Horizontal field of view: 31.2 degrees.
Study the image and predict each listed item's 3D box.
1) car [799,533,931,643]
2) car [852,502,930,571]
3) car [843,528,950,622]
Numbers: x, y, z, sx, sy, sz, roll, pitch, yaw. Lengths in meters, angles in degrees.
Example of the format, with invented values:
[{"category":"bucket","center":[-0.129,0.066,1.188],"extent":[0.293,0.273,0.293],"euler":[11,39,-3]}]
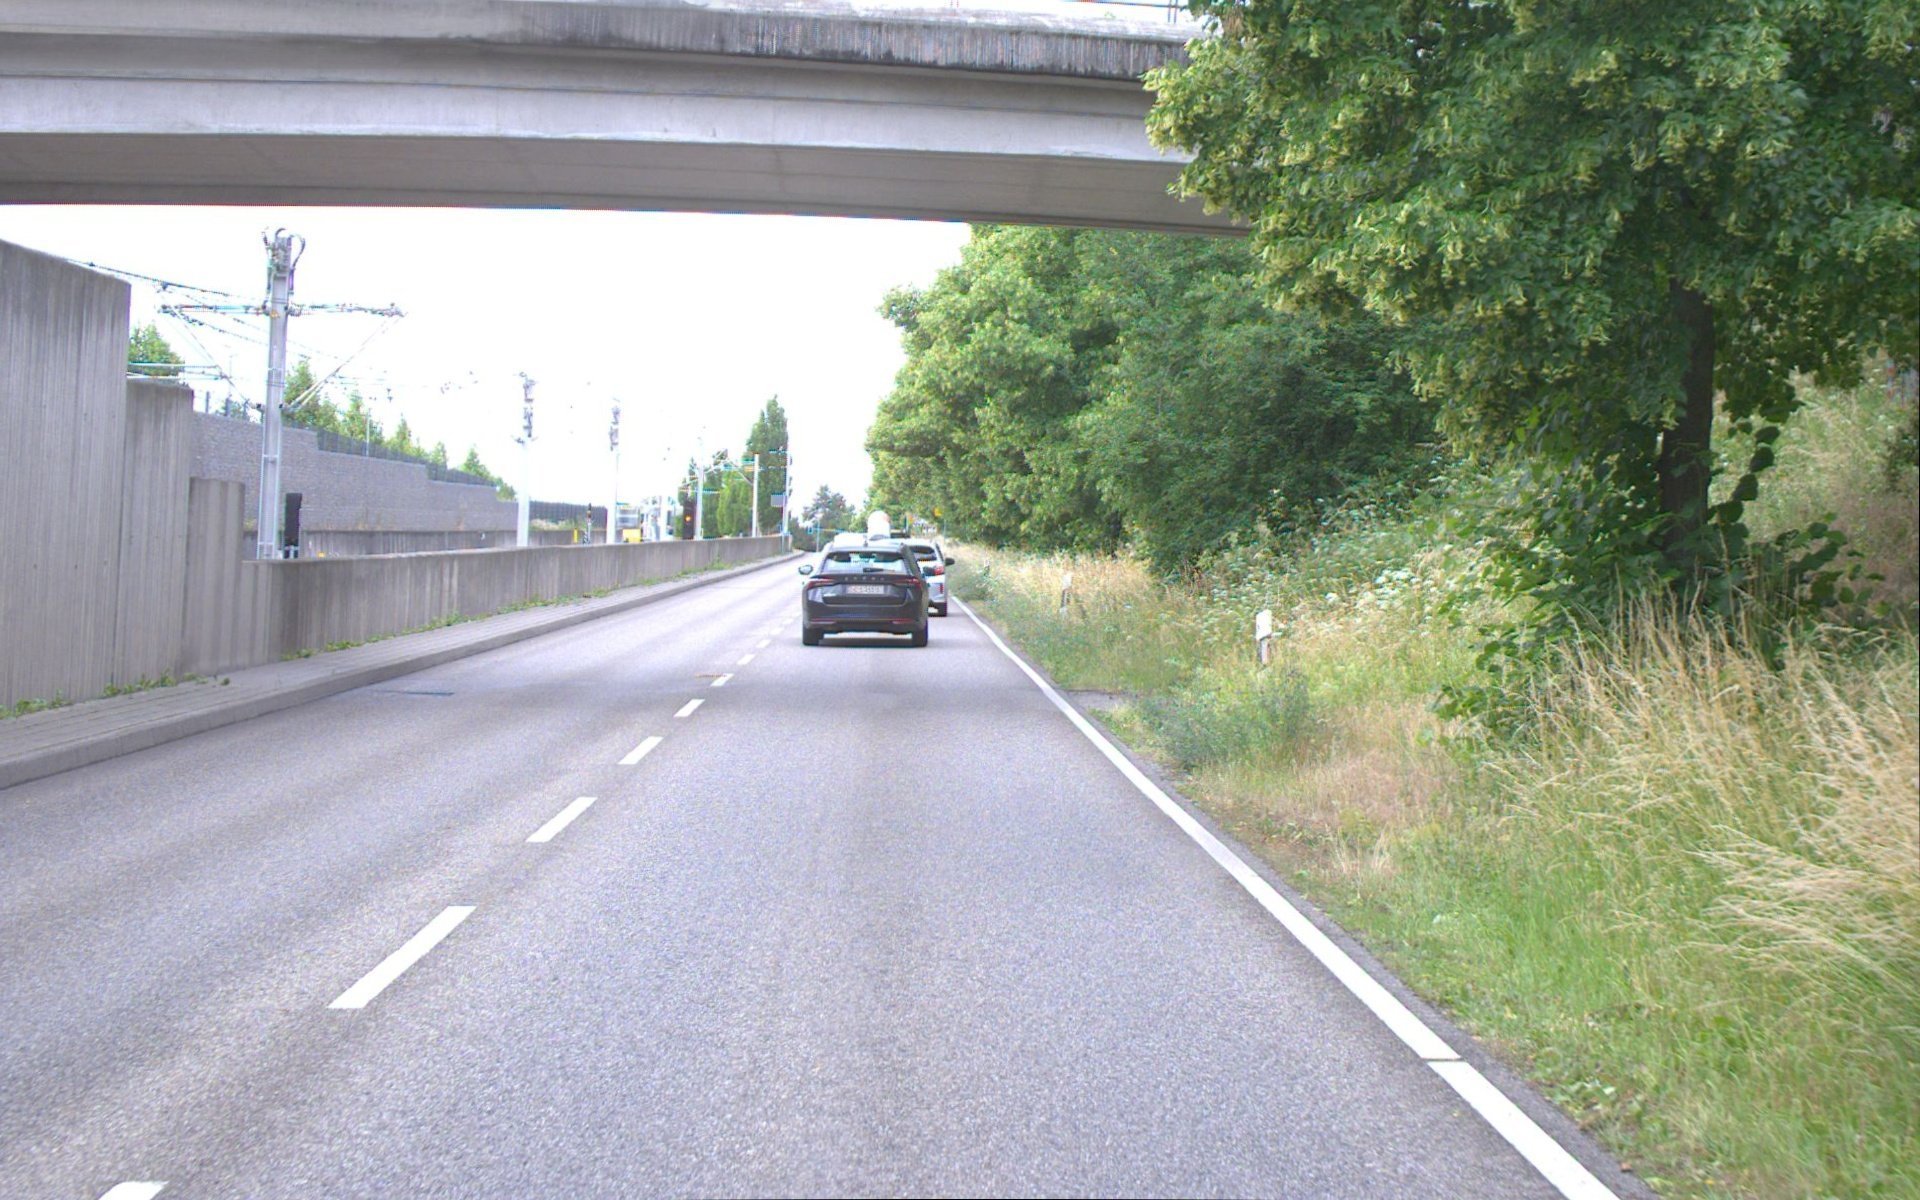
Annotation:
[{"category":"car","center":[-1.326,-0.198,48.895],"extent":[1.781,1.463,4.000],"euler":[1,1,-1]},{"category":"car","center":[-1.809,-1.655,90.786],"extent":[1.993,1.734,4.000],"euler":[1,0,-1]},{"category":"car","center":[-1.242,-0.513,66.898],"extent":[1.993,1.747,4.000],"euler":[1,1,-1]}]
